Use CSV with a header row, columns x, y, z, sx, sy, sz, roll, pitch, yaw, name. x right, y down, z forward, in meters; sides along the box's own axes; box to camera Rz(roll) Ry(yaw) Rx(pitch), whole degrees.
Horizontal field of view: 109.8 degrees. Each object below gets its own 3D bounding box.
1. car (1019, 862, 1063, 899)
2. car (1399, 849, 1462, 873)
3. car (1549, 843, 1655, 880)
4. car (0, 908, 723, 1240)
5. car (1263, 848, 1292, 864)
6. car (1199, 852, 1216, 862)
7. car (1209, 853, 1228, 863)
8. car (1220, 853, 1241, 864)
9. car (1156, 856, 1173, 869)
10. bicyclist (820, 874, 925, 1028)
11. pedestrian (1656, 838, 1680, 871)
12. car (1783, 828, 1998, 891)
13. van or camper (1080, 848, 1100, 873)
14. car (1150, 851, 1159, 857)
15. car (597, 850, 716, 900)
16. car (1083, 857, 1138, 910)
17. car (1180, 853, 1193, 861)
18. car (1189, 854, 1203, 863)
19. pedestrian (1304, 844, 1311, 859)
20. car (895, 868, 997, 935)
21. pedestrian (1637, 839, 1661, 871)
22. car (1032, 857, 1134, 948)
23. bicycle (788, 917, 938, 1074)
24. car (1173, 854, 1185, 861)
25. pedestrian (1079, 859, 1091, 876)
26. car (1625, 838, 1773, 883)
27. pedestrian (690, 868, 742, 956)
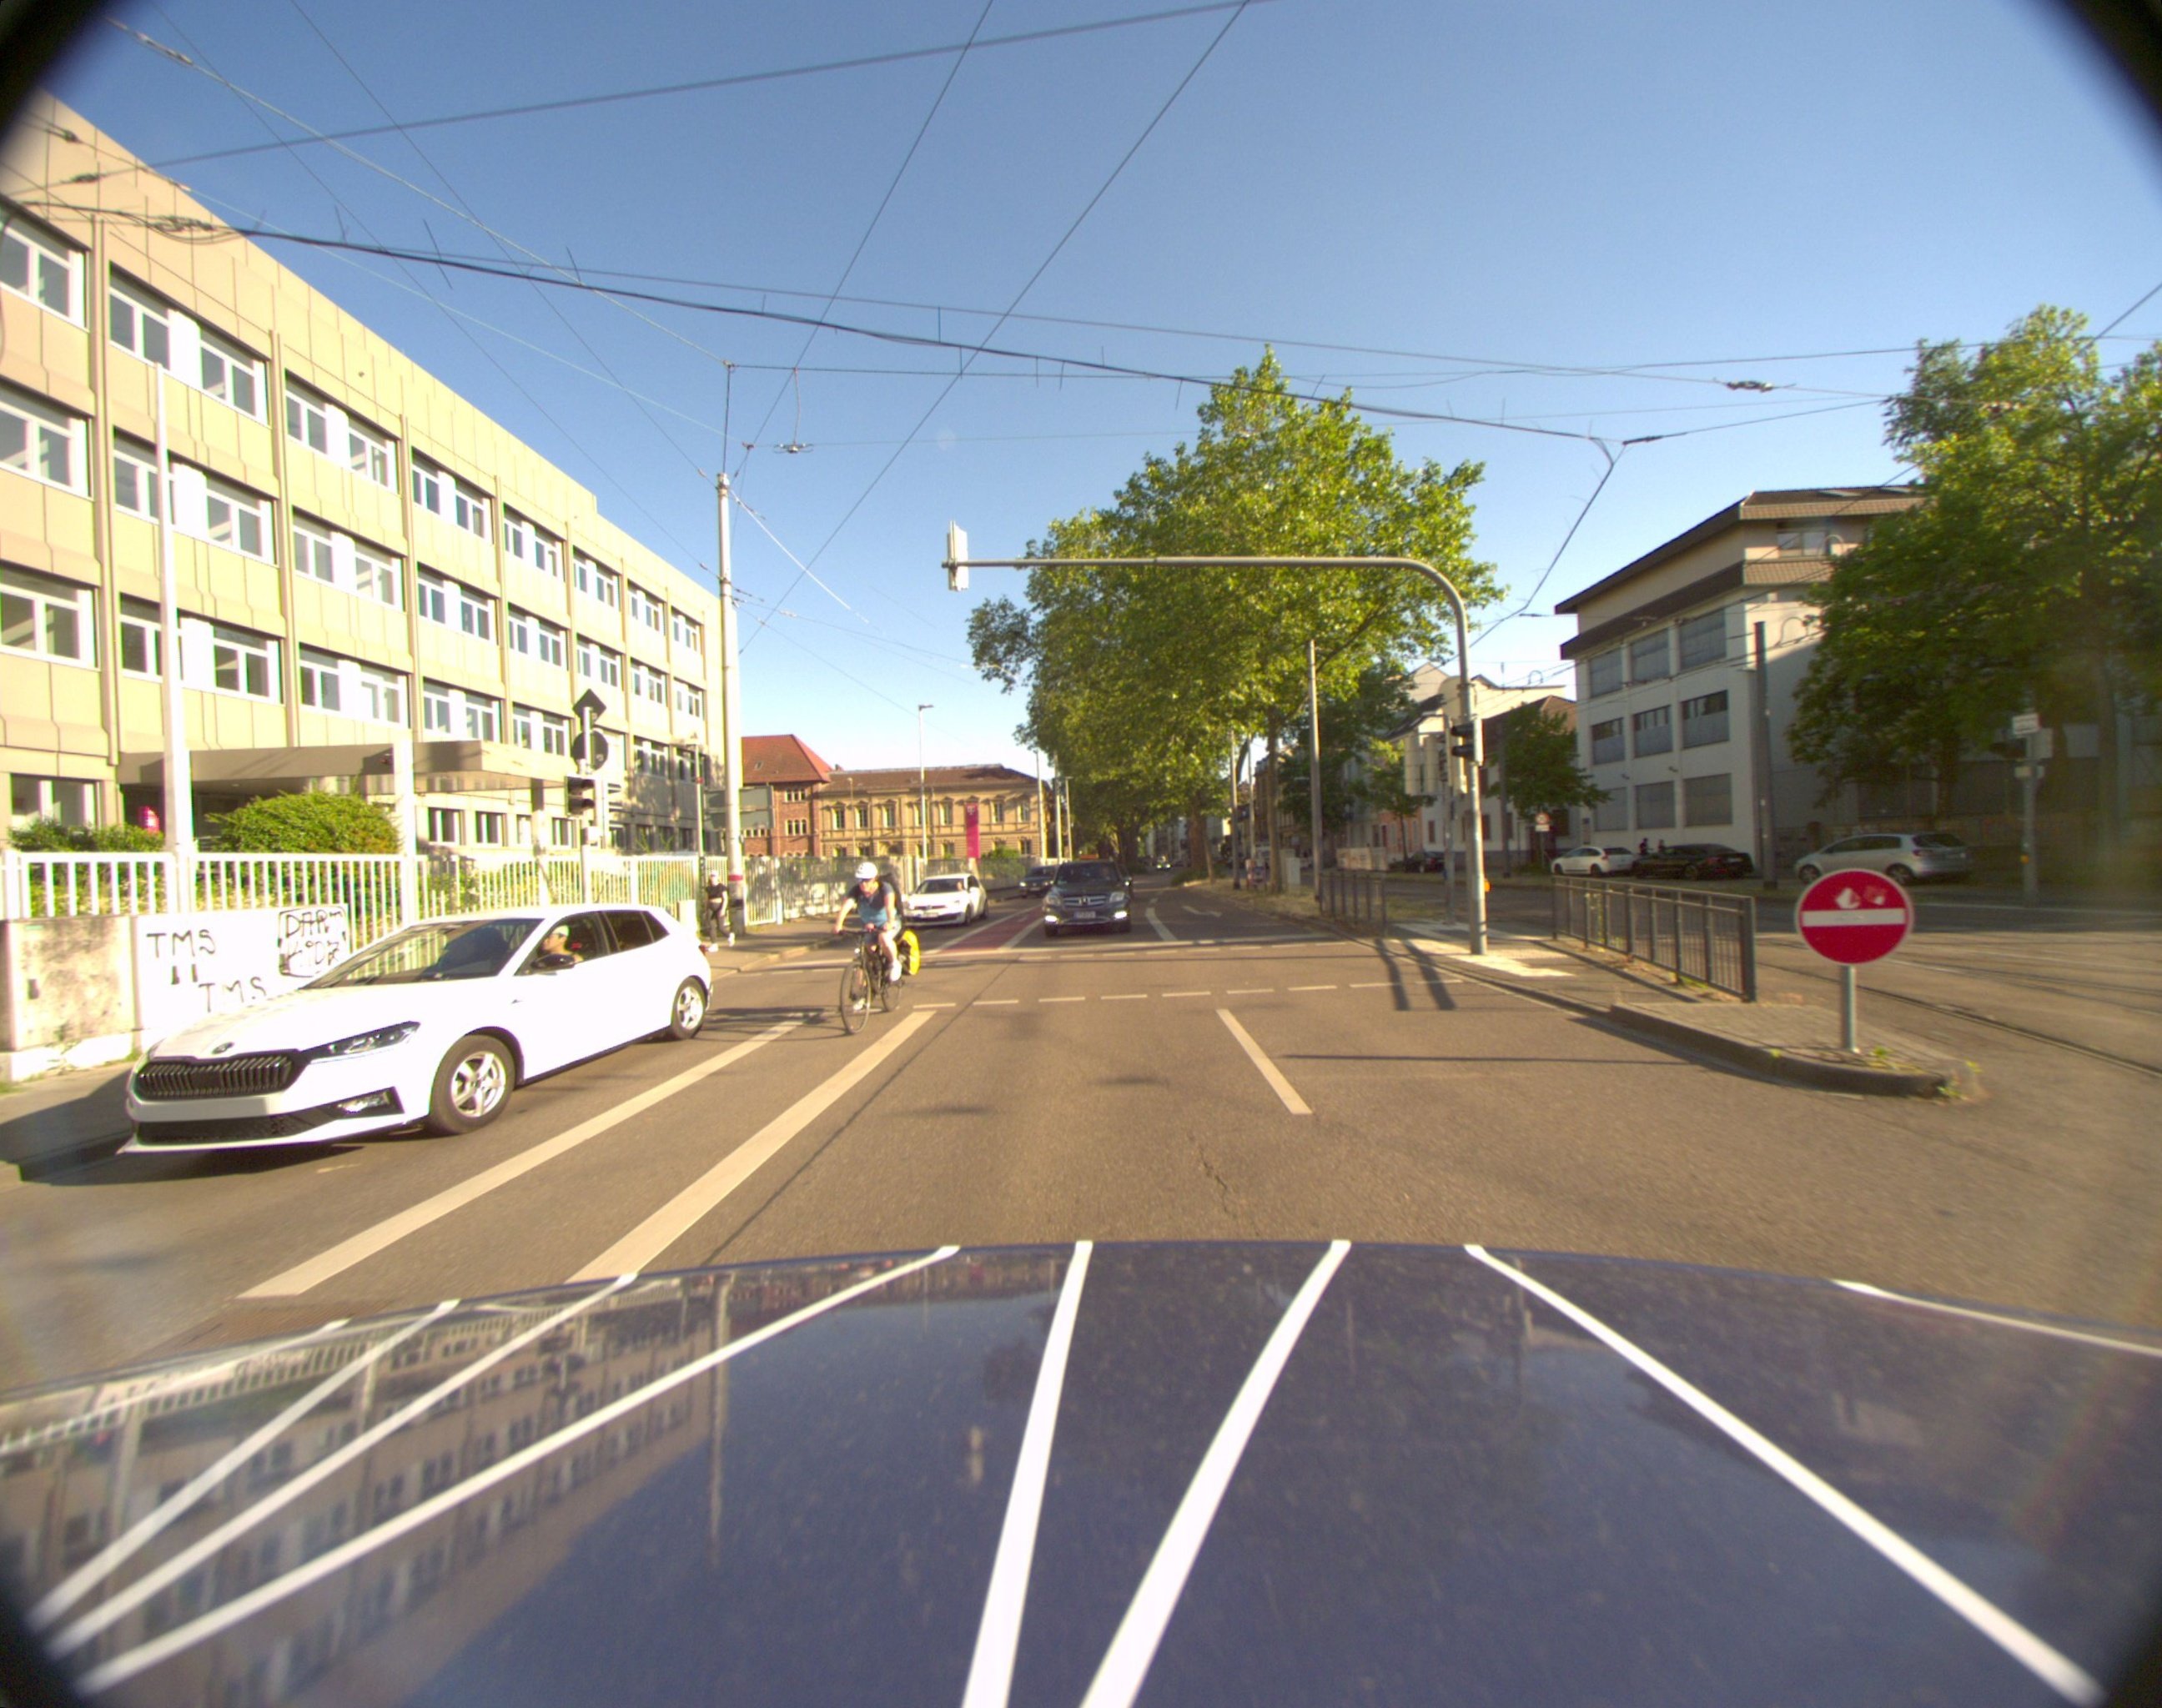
x,y,z,sx,sy,sz,roll,pitch,yaw,name
-1.982,1.310,38.924,1.793,1.633,4.301,-5,0,1,car
24.187,0.479,52.770,2.087,1.461,4.578,-5,0,-2,car
24.423,0.321,35.804,2.087,1.481,3.996,-5,0,-2,car
-4.750,1.303,5.999,1.705,1.381,4.075,-3,0,2,car
24.310,0.257,94.146,2.087,1.663,4.532,-5,0,-2,car
23.152,0.567,139.094,2.087,1.531,4.038,-5,0,-2,car
23.486,0.619,130.142,2.087,1.531,5.104,-5,0,-2,car
23.055,0.649,117.041,2.087,1.531,4.516,-5,0,-2,car
12.055,1.172,110.380,1.998,1.761,4.000,-3,0,1,car
-2.083,0.943,7.708,0.728,1.413,0.859,-3,1,1,bicyclist
27.979,0.034,36.208,0.537,1.519,0.712,-2,0,0,pedestrian
24.598,0.162,23.355,2.087,1.610,4.097,-5,0,-2,car
1.037,0.725,84.698,1.998,2.578,5.626,-3,0,1,van or camper
23.612,0.050,243.325,2.087,1.531,4.127,-5,0,-2,car
-17.126,0.797,30.987,1.998,1.831,4.785,-2,0,1,car
1.080,1.027,28.764,1.793,1.694,4.301,-5,0,1,car
22.969,0.566,165.281,2.087,1.531,4.008,-5,0,-2,car
23.463,0.875,154.978,2.087,1.531,4.255,-5,0,-2,car
27.602,-0.345,92.611,0.561,1.798,0.705,-2,0,-1,pedestrian
-3.784,1.287,22.047,1.793,1.493,4.302,-5,0,4,car
26.971,0.047,36.081,0.537,1.519,0.711,-2,0,-6,pedestrian
0.189,0.973,17.359,1.908,1.634,4.518,-5,0,4,car
-2.077,1.303,7.636,0.764,1.137,2.307,-2,0,1,bicycle
23.318,0.915,180.636,2.087,1.531,4.119,-5,0,-2,car
0.343,1.134,64.461,0.898,1.464,0.810,-2,0,2,pedestrian
24.422,0.229,30.276,2.087,1.493,4.456,-5,0,-2,car
-7.565,1.193,15.780,0.592,1.752,0.770,-2,0,6,pedestrian
